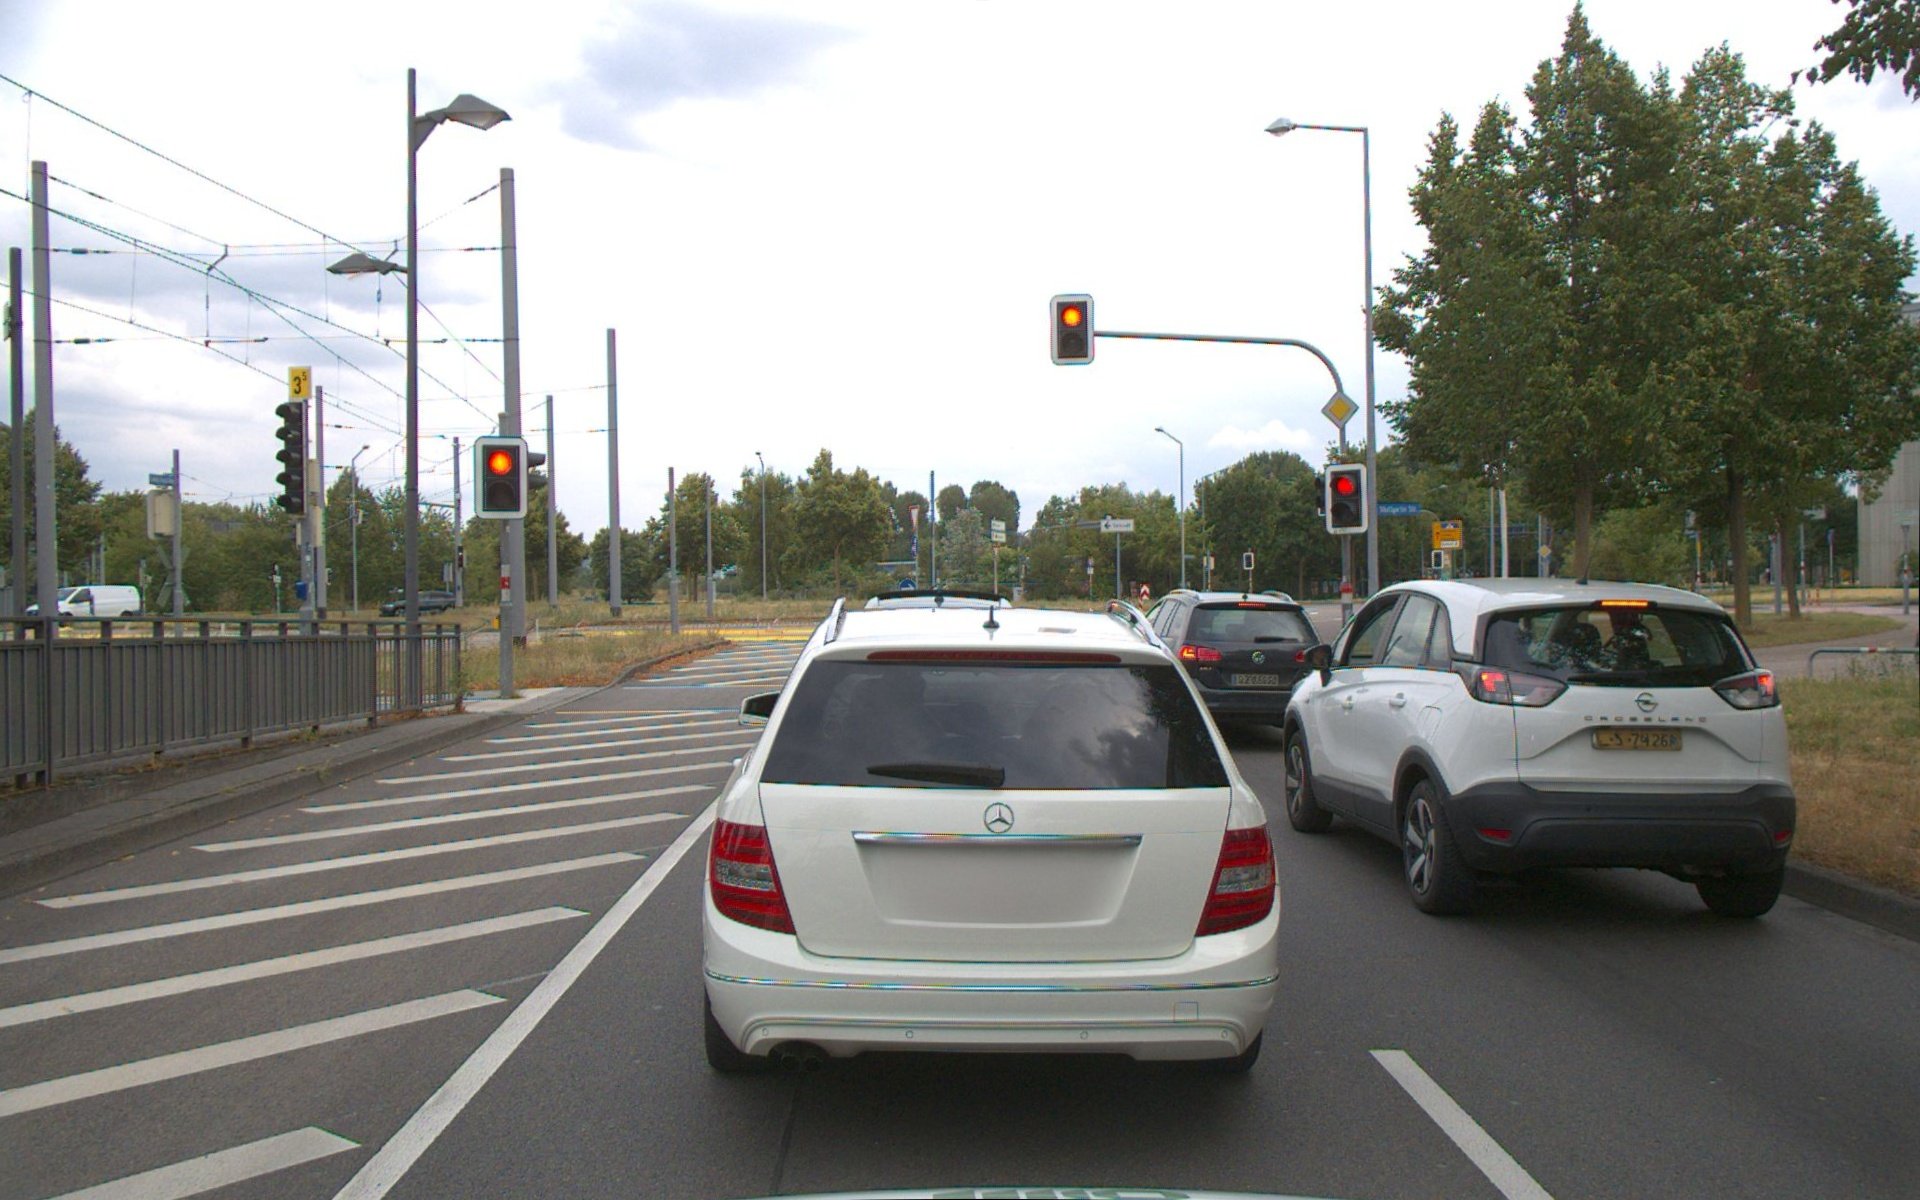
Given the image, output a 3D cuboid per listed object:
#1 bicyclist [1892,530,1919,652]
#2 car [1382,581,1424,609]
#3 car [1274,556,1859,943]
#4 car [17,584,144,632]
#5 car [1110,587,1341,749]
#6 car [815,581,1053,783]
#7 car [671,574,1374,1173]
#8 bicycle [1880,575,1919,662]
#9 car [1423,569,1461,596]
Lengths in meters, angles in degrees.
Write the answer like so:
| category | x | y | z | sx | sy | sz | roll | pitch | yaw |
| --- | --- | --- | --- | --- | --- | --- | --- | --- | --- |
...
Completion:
| category | x | y | z | sx | sy | sz | roll | pitch | yaw |
| --- | --- | --- | --- | --- | --- | --- | --- | --- | --- |
| bicyclist | 14.405 | -0.153 | 24.124 | 0.975 | 1.767 | 1.130 | -3 | 0 | 7 |
| car | 30.401 | -0.351 | 113.443 | 1.955 | 1.822 | 3.995 | 1 | 0 | 27 |
| car | 3.009 | 0.629 | 9.142 | 1.751 | 1.653 | 3.910 | -1 | 0 | -1 |
| car | -39.494 | 0.342 | 74.423 | 1.952 | 2.049 | 5.001 | 0 | 1 | 20 |
| car | 2.625 | 0.612 | 17.170 | 1.592 | 1.474 | 3.908 | 1 | 0 | -3 |
| car | -0.276 | 0.590 | 14.133 | 1.738 | 1.474 | 3.908 | 1 | 0 | -3 |
| car | 0.076 | 0.664 | 6.065 | 1.738 | 1.474 | 3.908 | 1 | 0 | -3 |
| bicycle | 14.406 | 0.268 | 24.155 | 0.883 | 1.256 | 2.270 | -1 | 1 | 6 |
| car | 30.469 | -1.122 | 104.499 | 1.747 | 1.664 | 4.401 | -1 | 1 | 23 |
